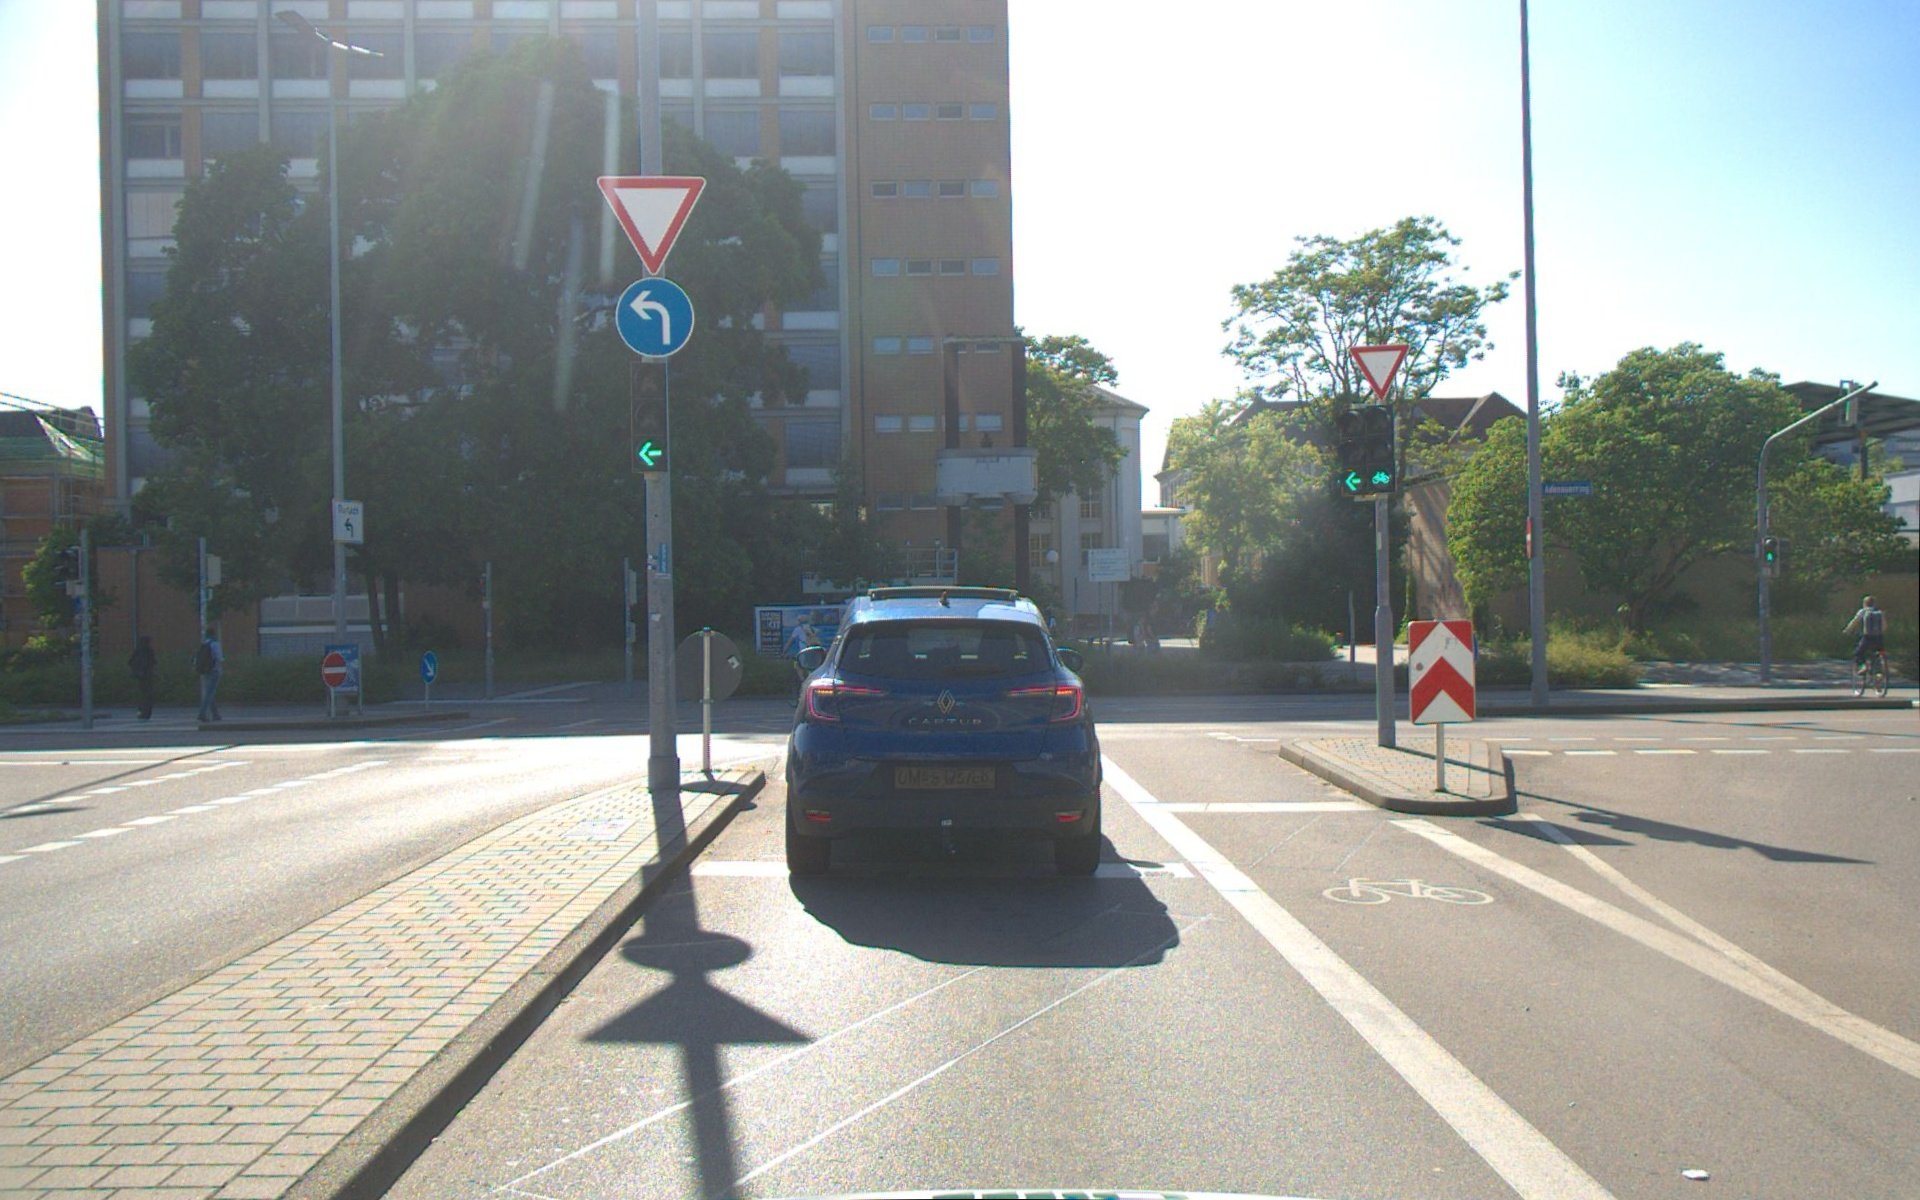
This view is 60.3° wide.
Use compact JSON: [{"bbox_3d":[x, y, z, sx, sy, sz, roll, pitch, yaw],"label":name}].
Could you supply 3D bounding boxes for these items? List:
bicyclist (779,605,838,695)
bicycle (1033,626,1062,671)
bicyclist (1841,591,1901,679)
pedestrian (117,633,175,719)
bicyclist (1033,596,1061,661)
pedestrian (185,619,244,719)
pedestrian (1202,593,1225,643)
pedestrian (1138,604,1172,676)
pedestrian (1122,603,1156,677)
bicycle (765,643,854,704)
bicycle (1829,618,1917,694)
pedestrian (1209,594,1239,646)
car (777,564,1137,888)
[{"bbox_3d":[-3.086,1.003,33.687,0.960,1.793,0.717,-2,-1,42],"label":"bicyclist"},{"bbox_3d":[2.423,1.317,45.532,0.730,1.185,1.871,-1,0,4],"label":"bicycle"},{"bbox_3d":[15.771,0.597,28.645,0.627,1.469,0.777,-2,1,6],"label":"bicyclist"},{"bbox_3d":[-15.717,1.462,31.938,0.702,1.640,0.682,-2,-1,15],"label":"pedestrian"},{"bbox_3d":[2.409,0.775,45.552,0.704,1.765,0.978,-1,-1,5],"label":"bicyclist"},{"bbox_3d":[-14.299,1.311,31.743,0.740,1.865,1.093,-1,-2,-9],"label":"pedestrian"},{"bbox_3d":[8.690,0.610,56.678,0.661,1.672,0.736,1,-1,16],"label":"pedestrian"},{"bbox_3d":[5.025,1.027,42.557,0.718,1.813,0.732,1,-1,16],"label":"pedestrian"},{"bbox_3d":[4.523,1.003,41.747,0.718,1.848,0.732,1,-1,16],"label":"pedestrian"},{"bbox_3d":[-3.075,1.478,33.681,1.837,1.185,0.744,-1,-1,42],"label":"bicycle"},{"bbox_3d":[15.783,0.948,28.646,0.627,1.185,1.872,-2,1,6],"label":"bicycle"},{"bbox_3d":[8.597,0.644,53.867,0.666,1.672,0.731,0,-1,42],"label":"pedestrian"},{"bbox_3d":[-0.042,0.663,10.472,1.838,1.646,3.797,1,0,-1],"label":"car"}]
